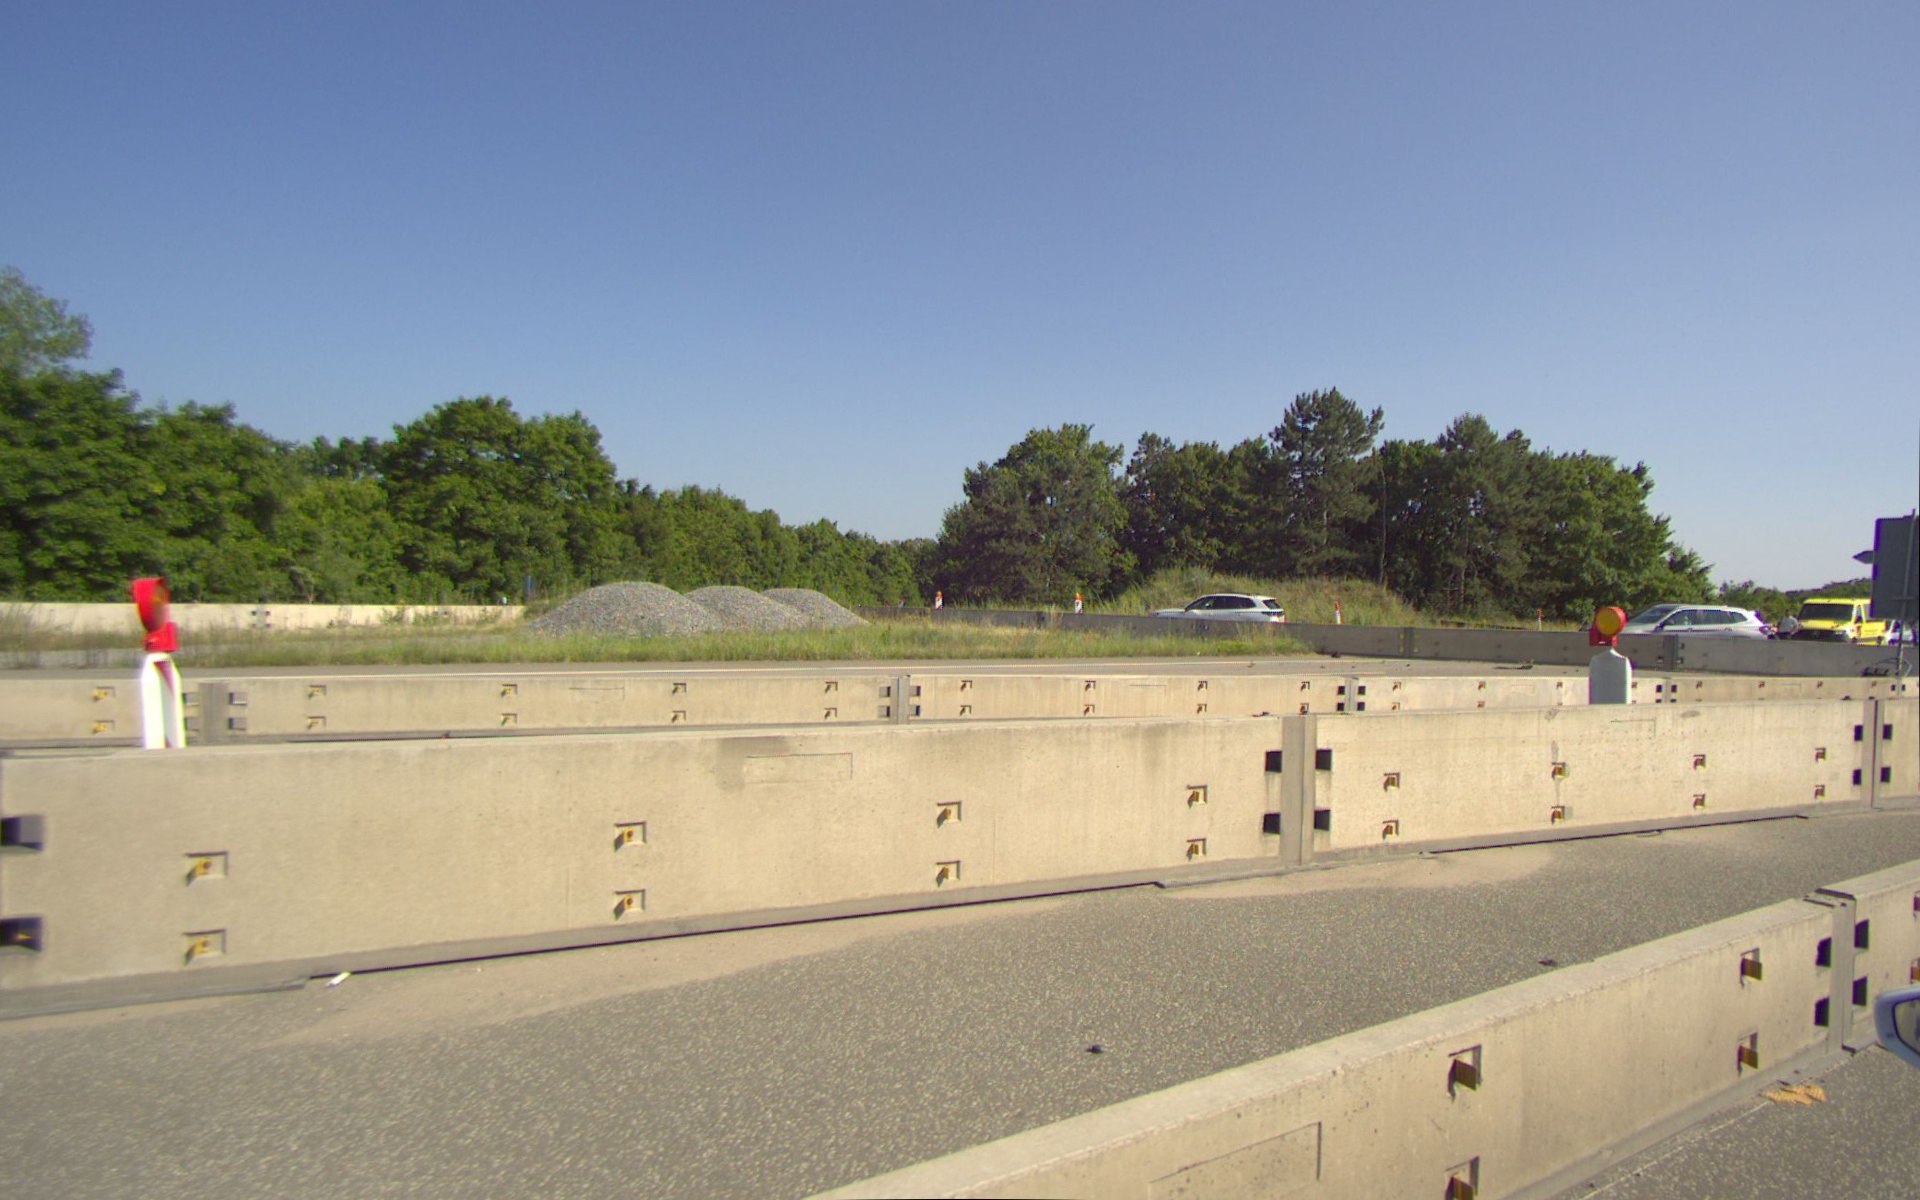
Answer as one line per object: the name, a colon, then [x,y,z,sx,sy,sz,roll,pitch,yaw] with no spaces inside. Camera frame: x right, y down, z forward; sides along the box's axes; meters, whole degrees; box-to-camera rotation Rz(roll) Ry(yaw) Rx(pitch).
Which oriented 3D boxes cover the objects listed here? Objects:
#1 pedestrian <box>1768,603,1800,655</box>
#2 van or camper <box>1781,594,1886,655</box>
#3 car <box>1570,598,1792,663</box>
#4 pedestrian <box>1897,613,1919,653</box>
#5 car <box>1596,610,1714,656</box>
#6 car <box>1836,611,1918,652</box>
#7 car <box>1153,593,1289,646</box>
pedestrian: [30.449,1.062,37.106,0.791,1.845,0.734,1,1,-41]
van or camper: [36.784,1.046,42.231,6.140,2.409,1.980,1,-1,-35]
car: [20.497,0.837,28.759,4.750,1.643,2.001,2,1,7]
pedestrian: [43.983,1.515,46.443,0.712,1.785,0.718,1,1,-31]
car: [24.230,1.141,34.984,4.248,1.479,1.852,1,0,-32]
car: [41.329,1.430,45.234,4.411,1.708,1.677,1,1,-34]
car: [8.539,0.604,32.918,3.928,1.575,1.957,2,0,30]
